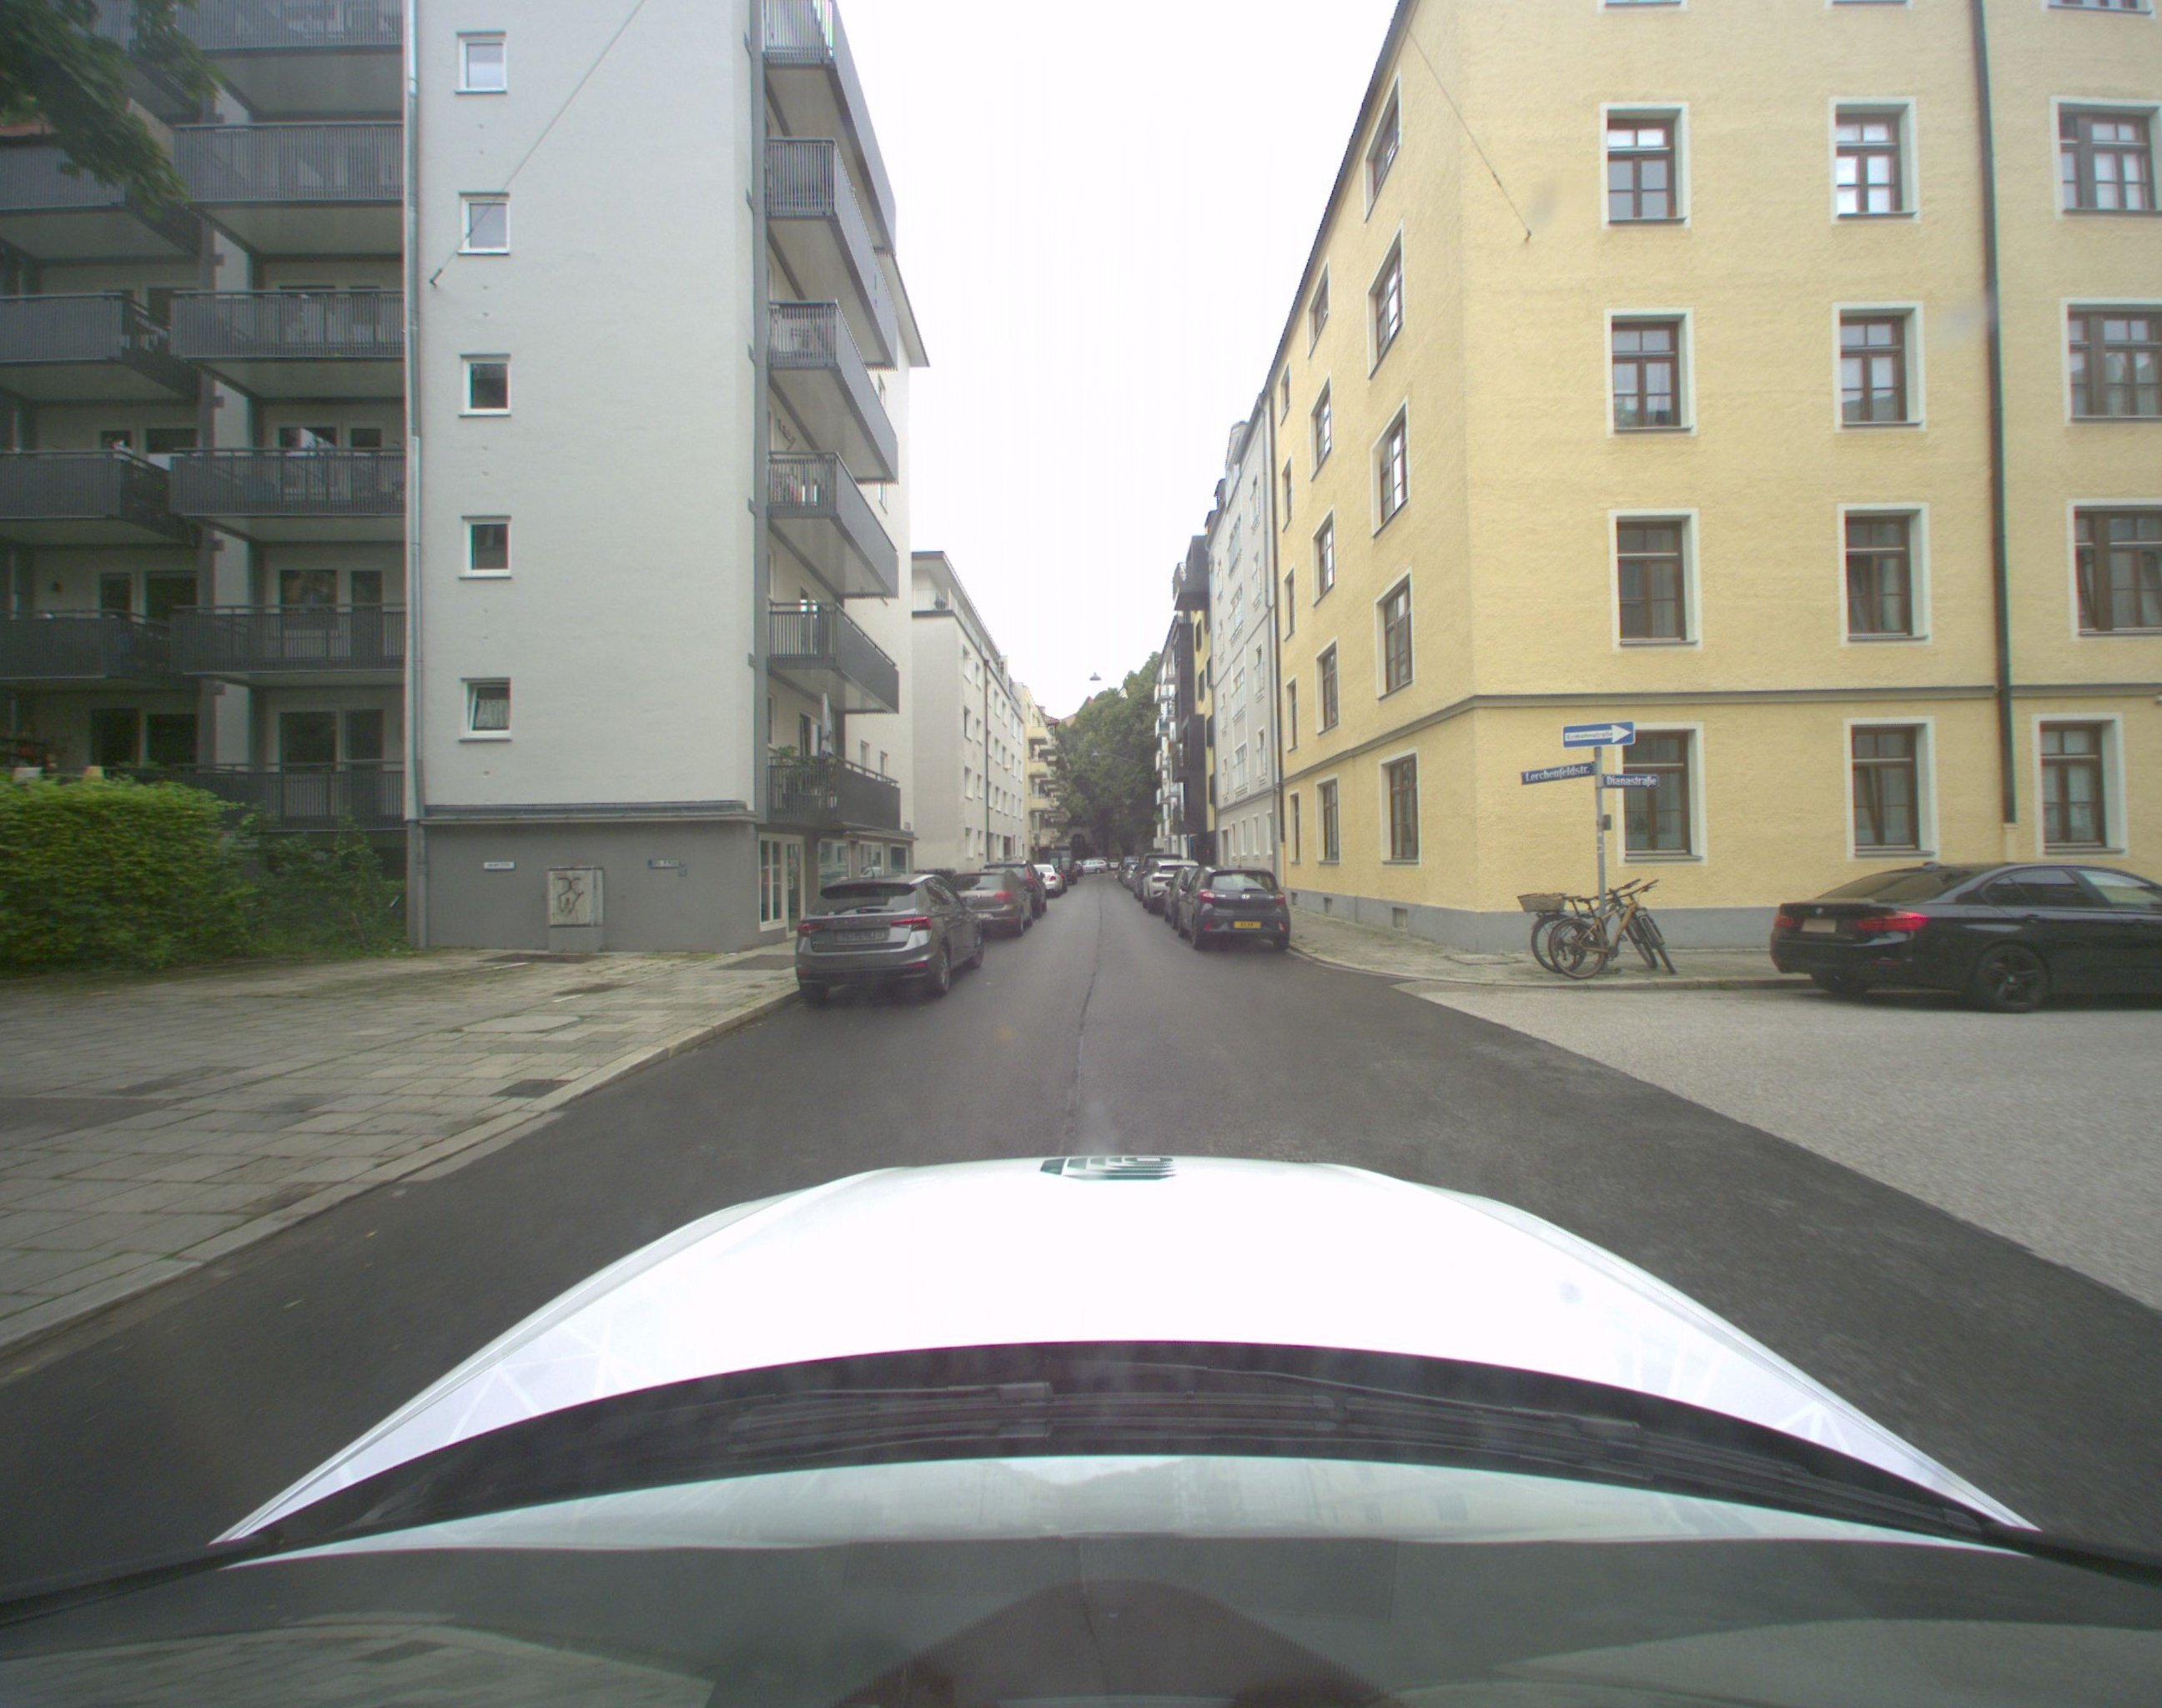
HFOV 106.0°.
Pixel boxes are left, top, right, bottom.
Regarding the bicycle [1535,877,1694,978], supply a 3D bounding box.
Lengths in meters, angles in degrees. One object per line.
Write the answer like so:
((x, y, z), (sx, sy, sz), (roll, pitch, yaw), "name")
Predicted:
((6.585, 0.902, 10.082), (1.708, 1.139, 0.374), (-2, 1, -1), "bicycle")

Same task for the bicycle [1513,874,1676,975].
((6.648, 0.898, 10.575), (1.803, 1.174, 0.505), (-2, 1, -2), "bicycle")

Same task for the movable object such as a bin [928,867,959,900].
((-5.870, 1.263, 34.885), (1.043, 1.337, 0.994), (-3, -1, 3), "movable object such as a bin")

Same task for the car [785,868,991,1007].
((-2.361, 0.958, 10.988), (1.686, 1.442, 3.943), (-2, -1, 2), "car")

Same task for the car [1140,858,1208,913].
((2.856, 0.931, 25.929), (1.676, 1.567, 4.415), (2, 0, 1), "car")

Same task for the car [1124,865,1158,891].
((3.646, 1.439, 50.219), (1.823, 1.454, 4.415), (2, -1, 1), "car")

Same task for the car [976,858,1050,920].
((-1.945, 0.980, 24.485), (1.771, 1.629, 4.414), (-2, -1, 1), "car")

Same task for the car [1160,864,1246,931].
((2.965, 1.015, 20.433), (1.657, 1.469, 3.820), (2, 0, 2), "car")

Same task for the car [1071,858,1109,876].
((0.951, 1.376, 85.904), (3.874, 1.584, 1.647), (-4, -1, -1), "car")

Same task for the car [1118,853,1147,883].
((3.765, 1.016, 60.092), (1.823, 1.999, 4.415), (2, -1, 1), "car")

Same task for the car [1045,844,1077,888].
((-1.358, 0.835, 57.263), (1.930, 2.802, 4.532), (-4, -1, 1), "car")

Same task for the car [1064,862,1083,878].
((-0.684, 1.490, 76.001), (1.637, 1.383, 3.482), (-4, -1, 1), "car")

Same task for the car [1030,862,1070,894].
((-1.575, 1.223, 42.725), (1.771, 1.453, 4.046), (-4, -1, 1), "car")

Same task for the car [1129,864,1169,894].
((3.650, 1.307, 44.355), (1.823, 1.454, 4.415), (2, -1, 1), "car")

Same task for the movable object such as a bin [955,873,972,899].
((-4.805, 1.304, 33.372), (0.649, 1.020, 0.584), (1, -1, -5), "movable object such as a bin")

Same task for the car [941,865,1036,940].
((-2.004, 1.017, 18.658), (1.688, 1.442, 3.976), (-2, -1, 0), "car")

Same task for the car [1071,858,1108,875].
((0.887, 1.346, 87.878), (3.874, 1.584, 1.647), (-4, -1, -1), "car")

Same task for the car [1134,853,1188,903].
((3.221, 0.938, 33.511), (1.823, 1.910, 4.416), (1, 0, 1), "car")

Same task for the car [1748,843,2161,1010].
((9.682, 0.672, 8.423), (4.200, 1.494, 1.711), (-1, -2, -1), "car")

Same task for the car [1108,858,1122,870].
((4.263, 1.297, 102.922), (1.637, 1.383, 3.746), (-4, -1, 1), "car")

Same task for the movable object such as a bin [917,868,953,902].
((-6.043, 1.266, 33.809), (1.161, 1.337, 1.026), (-3, -1, 3), "movable object such as a bin")

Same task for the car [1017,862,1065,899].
((-1.763, 1.150, 37.539), (1.770, 1.487, 4.520), (-4, -1, 2), "car")

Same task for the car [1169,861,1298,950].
((2.847, 0.897, 16.110), (1.745, 1.469, 4.343), (2, 0, 1), "car")
